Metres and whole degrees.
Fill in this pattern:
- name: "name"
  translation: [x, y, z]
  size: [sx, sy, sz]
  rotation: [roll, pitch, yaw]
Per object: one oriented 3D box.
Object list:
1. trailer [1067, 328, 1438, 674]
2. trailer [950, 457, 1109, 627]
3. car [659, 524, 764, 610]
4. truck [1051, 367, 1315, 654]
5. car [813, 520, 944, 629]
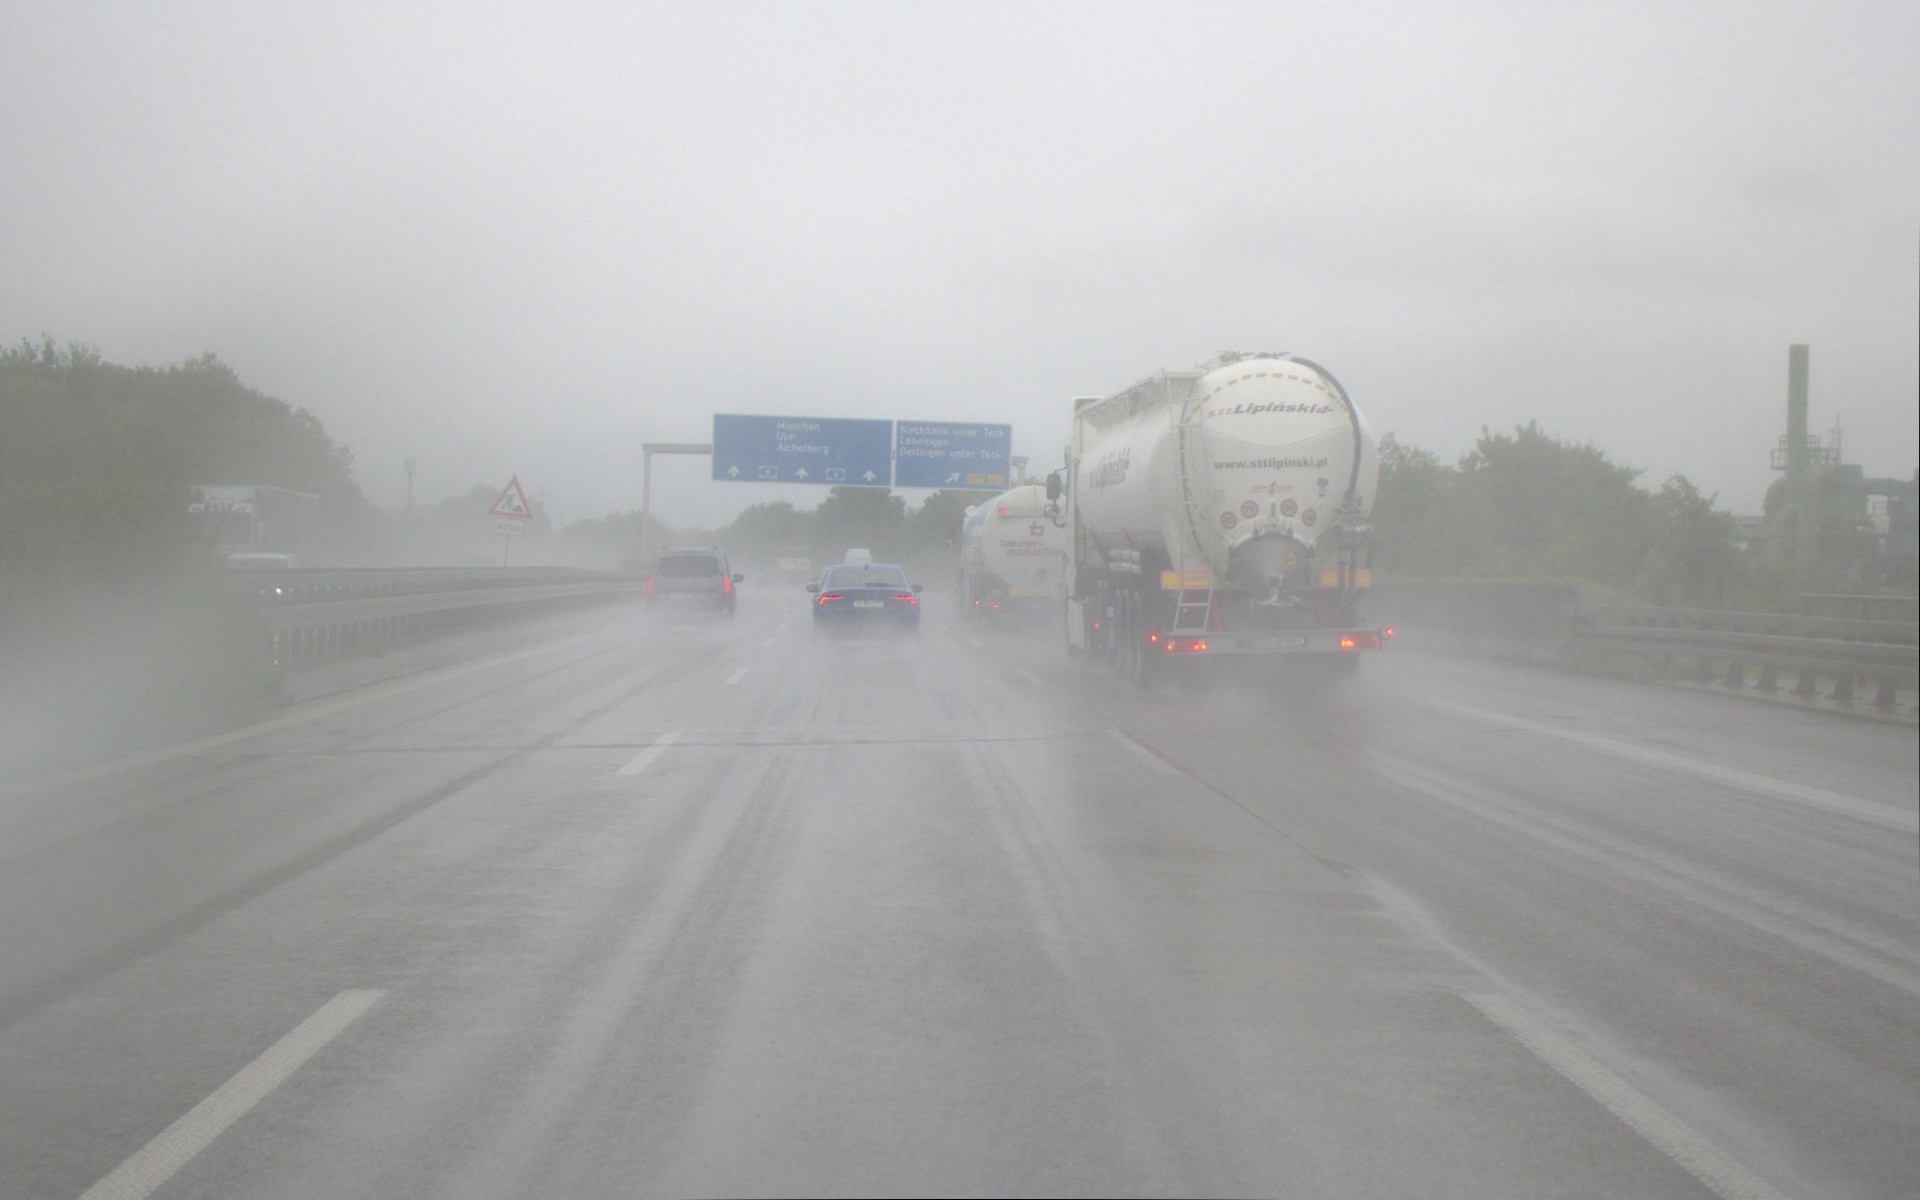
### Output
- name: "trailer"
  translation: [3.319, -1.163, 42.745]
  size: [3.188, 3.657, 11.668]
  rotation: [1, 1, -2]
- name: "trailer"
  translation: [1.570, -1.397, 82.813]
  size: [3.004, 3.834, 8.625]
  rotation: [1, 1, -4]
- name: "car"
  translation: [-5.172, -0.712, 72.063]
  size: [1.925, 1.735, 4.404]
  rotation: [1, 1, -1]
- name: "truck"
  translation: [3.094, -1.266, 49.816]
  size: [3.104, 3.793, 7.213]
  rotation: [1, 1, -2]
- name: "car"
  translation: [-1.331, -0.465, 58.002]
  size: [1.978, 1.750, 4.481]
  rotation: [0, 1, 1]
